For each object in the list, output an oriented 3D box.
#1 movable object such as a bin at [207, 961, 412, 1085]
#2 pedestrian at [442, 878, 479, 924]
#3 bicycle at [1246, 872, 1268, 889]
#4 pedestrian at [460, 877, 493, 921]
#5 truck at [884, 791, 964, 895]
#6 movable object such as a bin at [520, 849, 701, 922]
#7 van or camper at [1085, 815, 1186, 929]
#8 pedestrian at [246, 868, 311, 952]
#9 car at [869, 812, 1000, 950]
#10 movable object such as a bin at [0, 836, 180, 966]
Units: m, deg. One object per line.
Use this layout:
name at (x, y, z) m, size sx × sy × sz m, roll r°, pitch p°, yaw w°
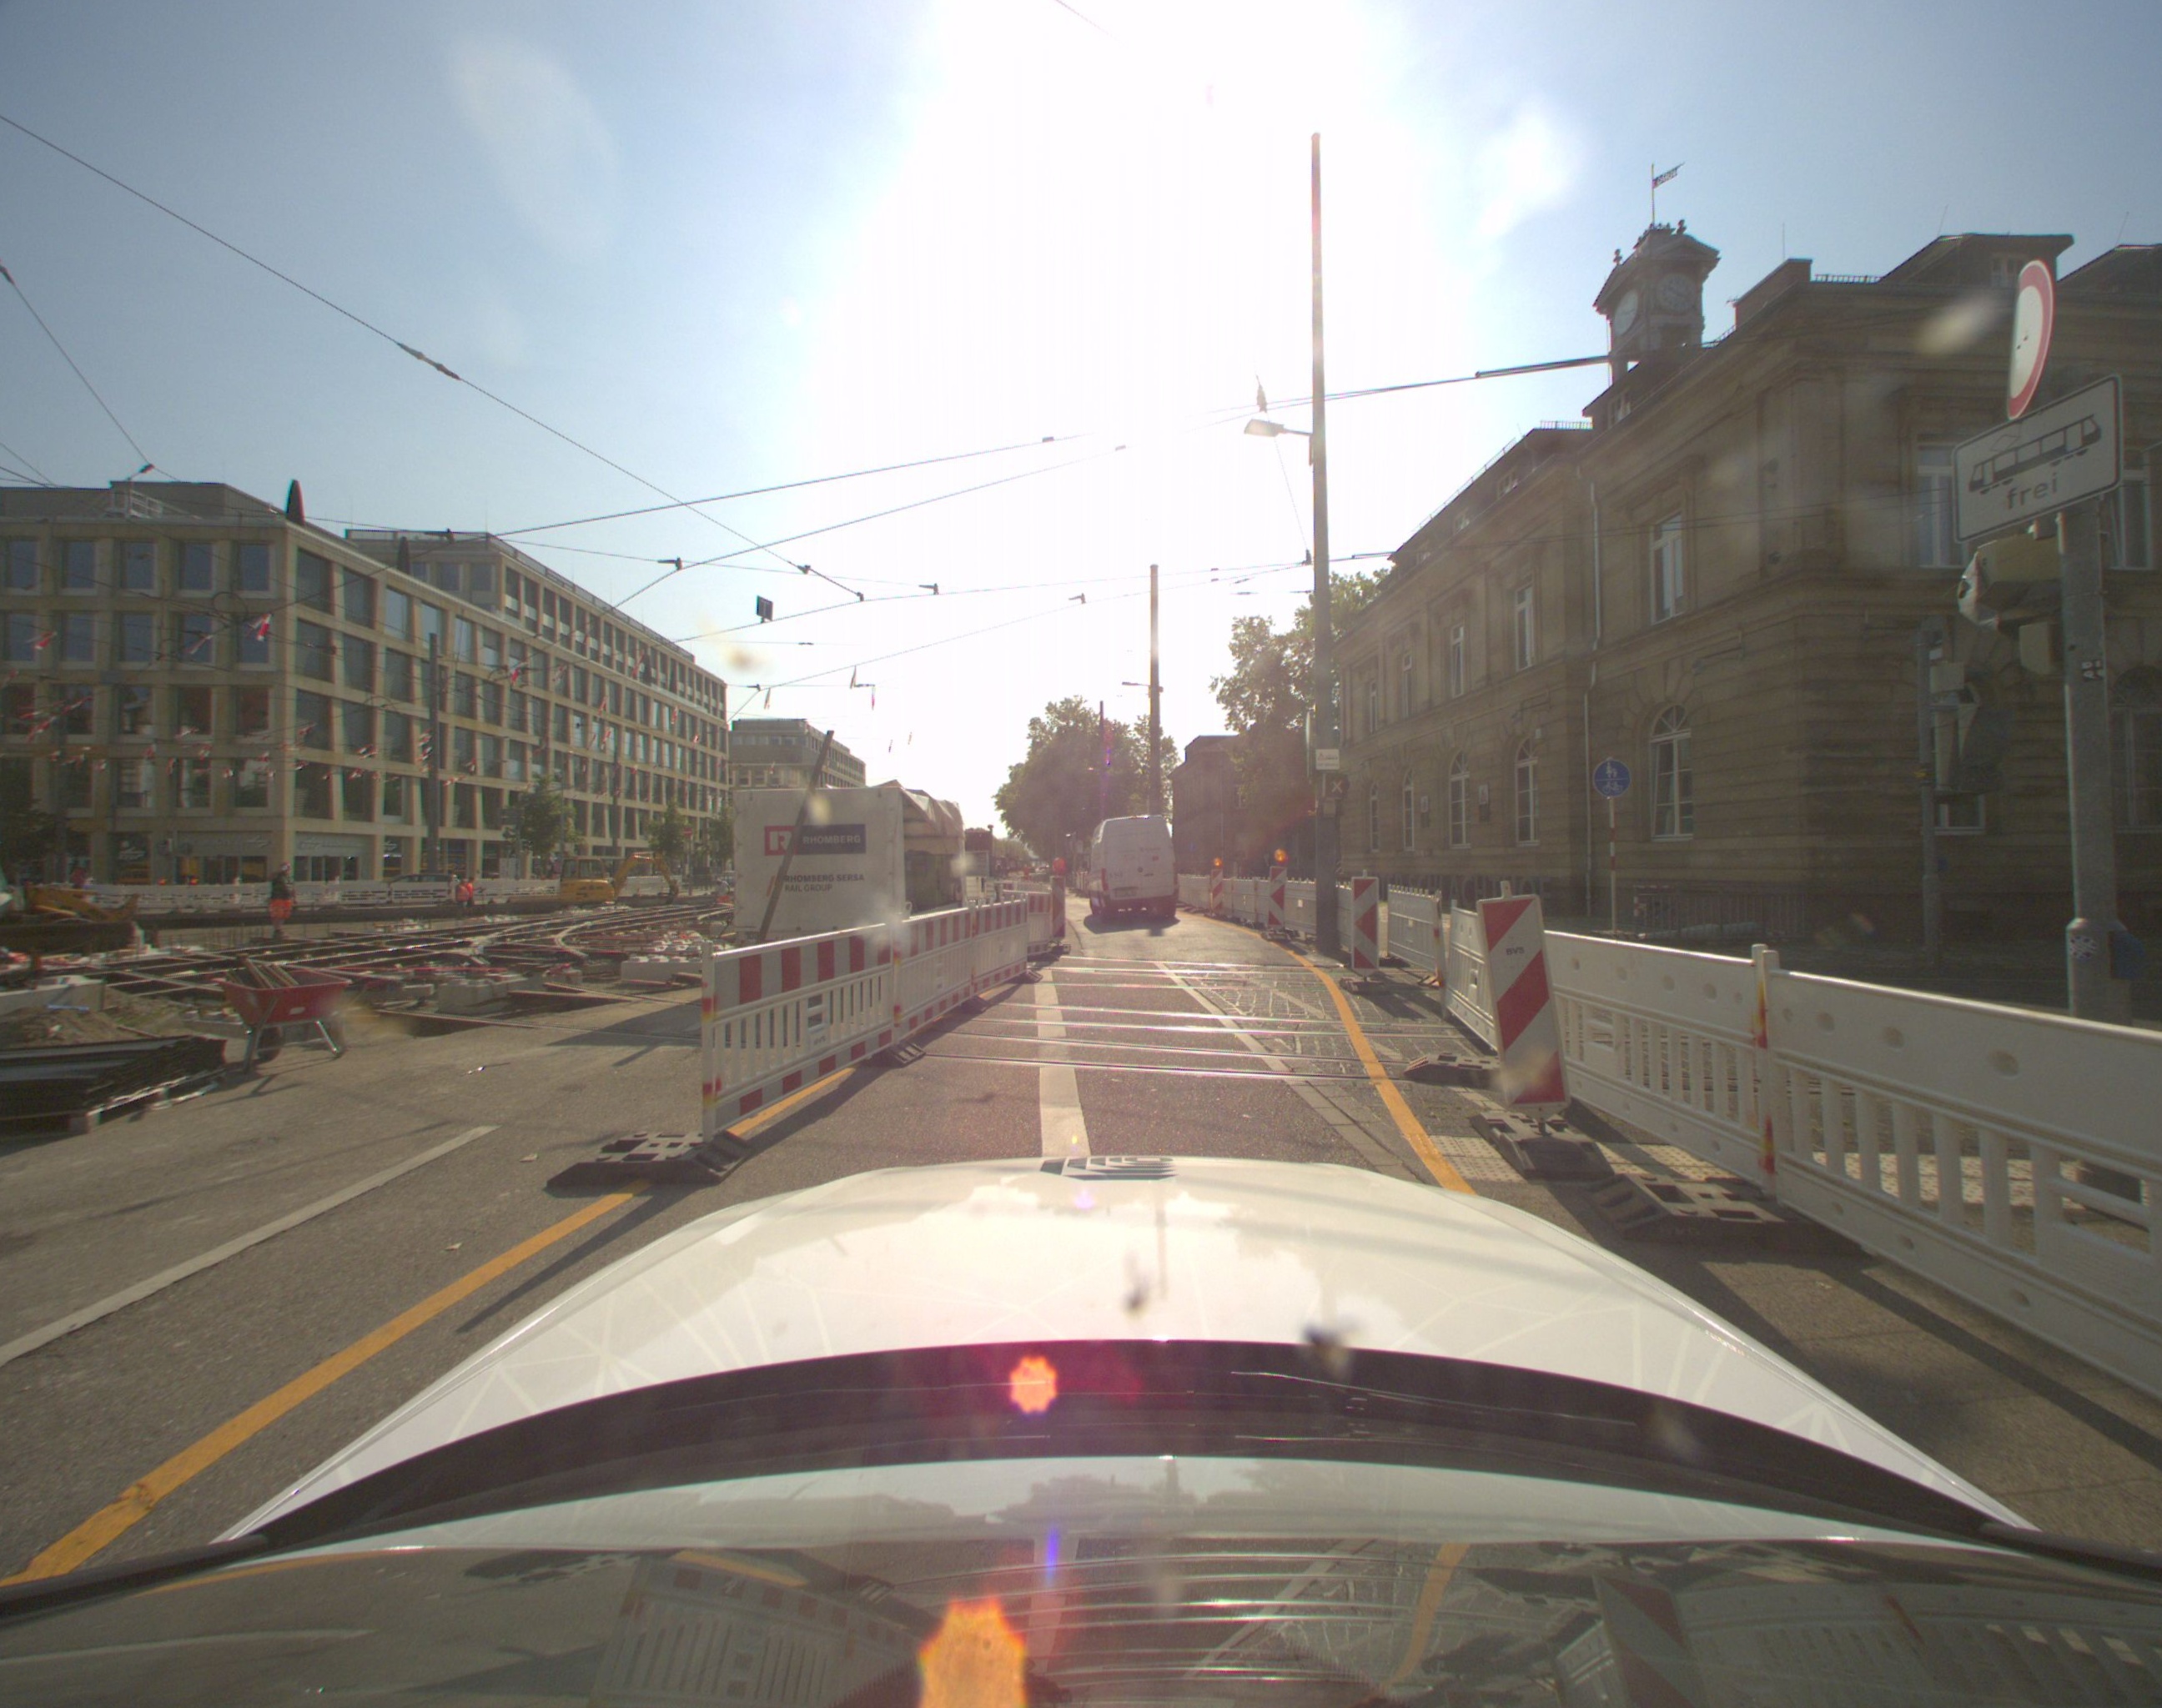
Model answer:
movable object such as a bin at (-6.092, 1.274, 6.414) m, size 1.701 × 0.713 × 0.722 m, roll -2°, pitch -2°, yaw 30°
pedestrian at (-25.560, 1.922, 33.564) m, size 0.924 × 1.865 × 0.806 m, roll 0°, pitch -1°, yaw -13°
bicycle at (11.851, 1.785, 54.885) m, size 0.493 × 0.999 × 1.805 m, roll 0°, pitch 1°, yaw -21°
pedestrian at (-25.958, 1.915, 34.992) m, size 0.749 × 1.865 × 0.811 m, roll 0°, pitch -1°, yaw 6°
truck at (-6.901, -0.362, 34.899) m, size 2.797 × 3.913 × 8.375 m, roll 1°, pitch -1°, yaw -15°
movable object such as a bin at (-21.152, 1.426, 37.457) m, size 3.605 × 2.958 × 8.467 m, roll 1°, pitch -2°, yaw -3°
van or camper at (1.358, 0.453, 22.603) m, size 2.111 × 2.682 × 5.244 m, roll -3°, pitch 0°, yaw -3°
pedestrian at (-18.649, 1.279, 18.932) m, size 0.782 × 1.913 × 0.724 m, roll -1°, pitch -2°, yaw 6°
car at (-2.972, 0.559, 18.138) m, size 2.204 × 2.424 × 7.185 m, roll -1°, pitch -1°, yaw -5°
movable object such as a bin at (-24.452, 1.050, 18.614) m, size 4.841 × 2.835 × 2.420 m, roll 0°, pitch -2°, yaw -40°
